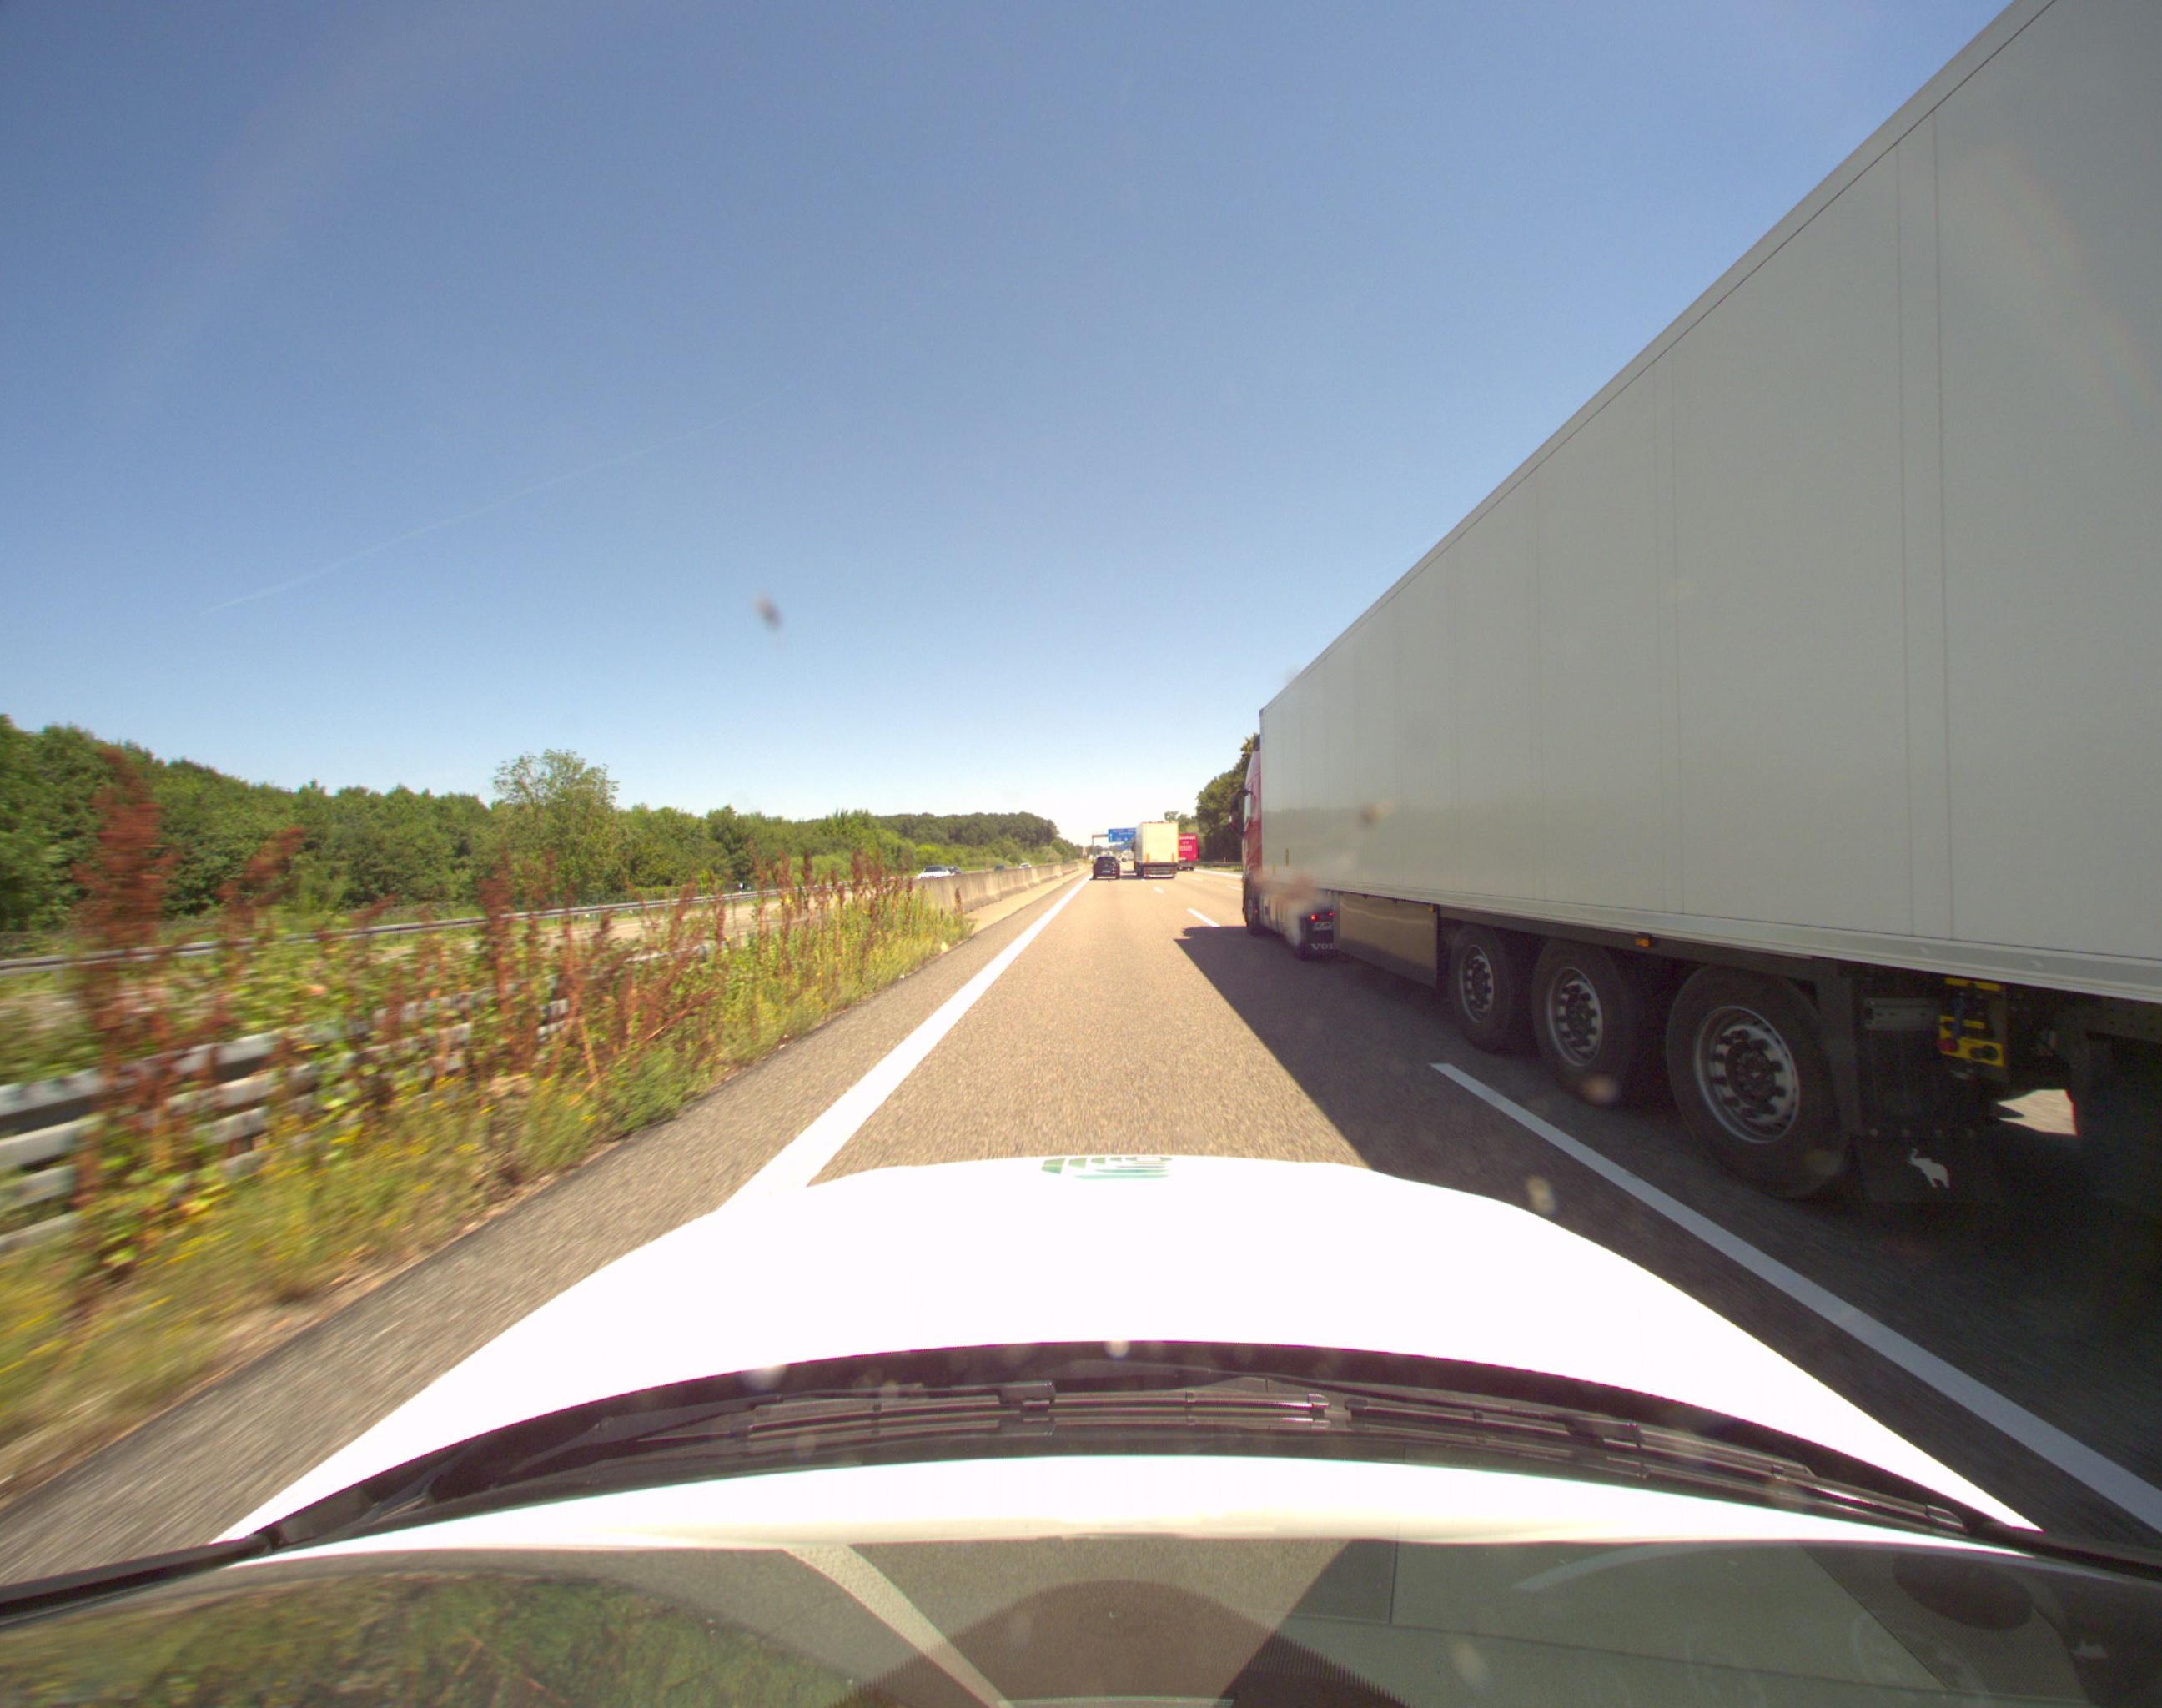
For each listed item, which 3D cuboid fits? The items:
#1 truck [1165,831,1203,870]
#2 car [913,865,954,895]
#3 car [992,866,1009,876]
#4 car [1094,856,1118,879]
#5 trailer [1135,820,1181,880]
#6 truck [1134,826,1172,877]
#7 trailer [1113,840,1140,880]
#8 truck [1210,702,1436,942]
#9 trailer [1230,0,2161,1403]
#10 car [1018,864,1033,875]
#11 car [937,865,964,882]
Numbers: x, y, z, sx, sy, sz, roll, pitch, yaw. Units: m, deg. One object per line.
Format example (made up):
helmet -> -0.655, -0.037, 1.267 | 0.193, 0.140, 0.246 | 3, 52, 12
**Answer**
truck -> 11.718, -0.343, 94.112 | 3.044, 4.106, 13.222 | -1, -1, 2
car -> -11.199, 1.944, 62.257 | 1.986, 2.013, 4.940 | -4, -1, 2
car -> -12.399, 2.614, 126.278 | 1.901, 1.479, 4.827 | -4, 0, 2
car -> 1.814, 0.973, 58.842 | 1.654, 1.549, 3.784 | -2, 0, 2
trailer -> 5.725, -0.239, 62.520 | 2.784, 4.035, 12.574 | -1, 0, 2
truck -> 5.960, -0.167, 68.124 | 2.789, 4.007, 6.023 | -1, 0, 2
trailer -> 4.976, 0.721, 90.135 | 2.696, 4.068, 14.756 | -1, -1, 3
truck -> 4.536, -0.517, 16.688 | 2.930, 3.986, 6.103 | -1, -1, 1
trailer -> 4.336, -0.598, 8.787 | 2.927, 4.018, 16.205 | -1, -1, 2
car -> -8.548, 2.387, 126.099 | 1.767, 1.538, 4.686 | -4, 0, 2
car -> -14.197, 2.093, 88.820 | 1.986, 1.558, 4.686 | -4, 0, 2
